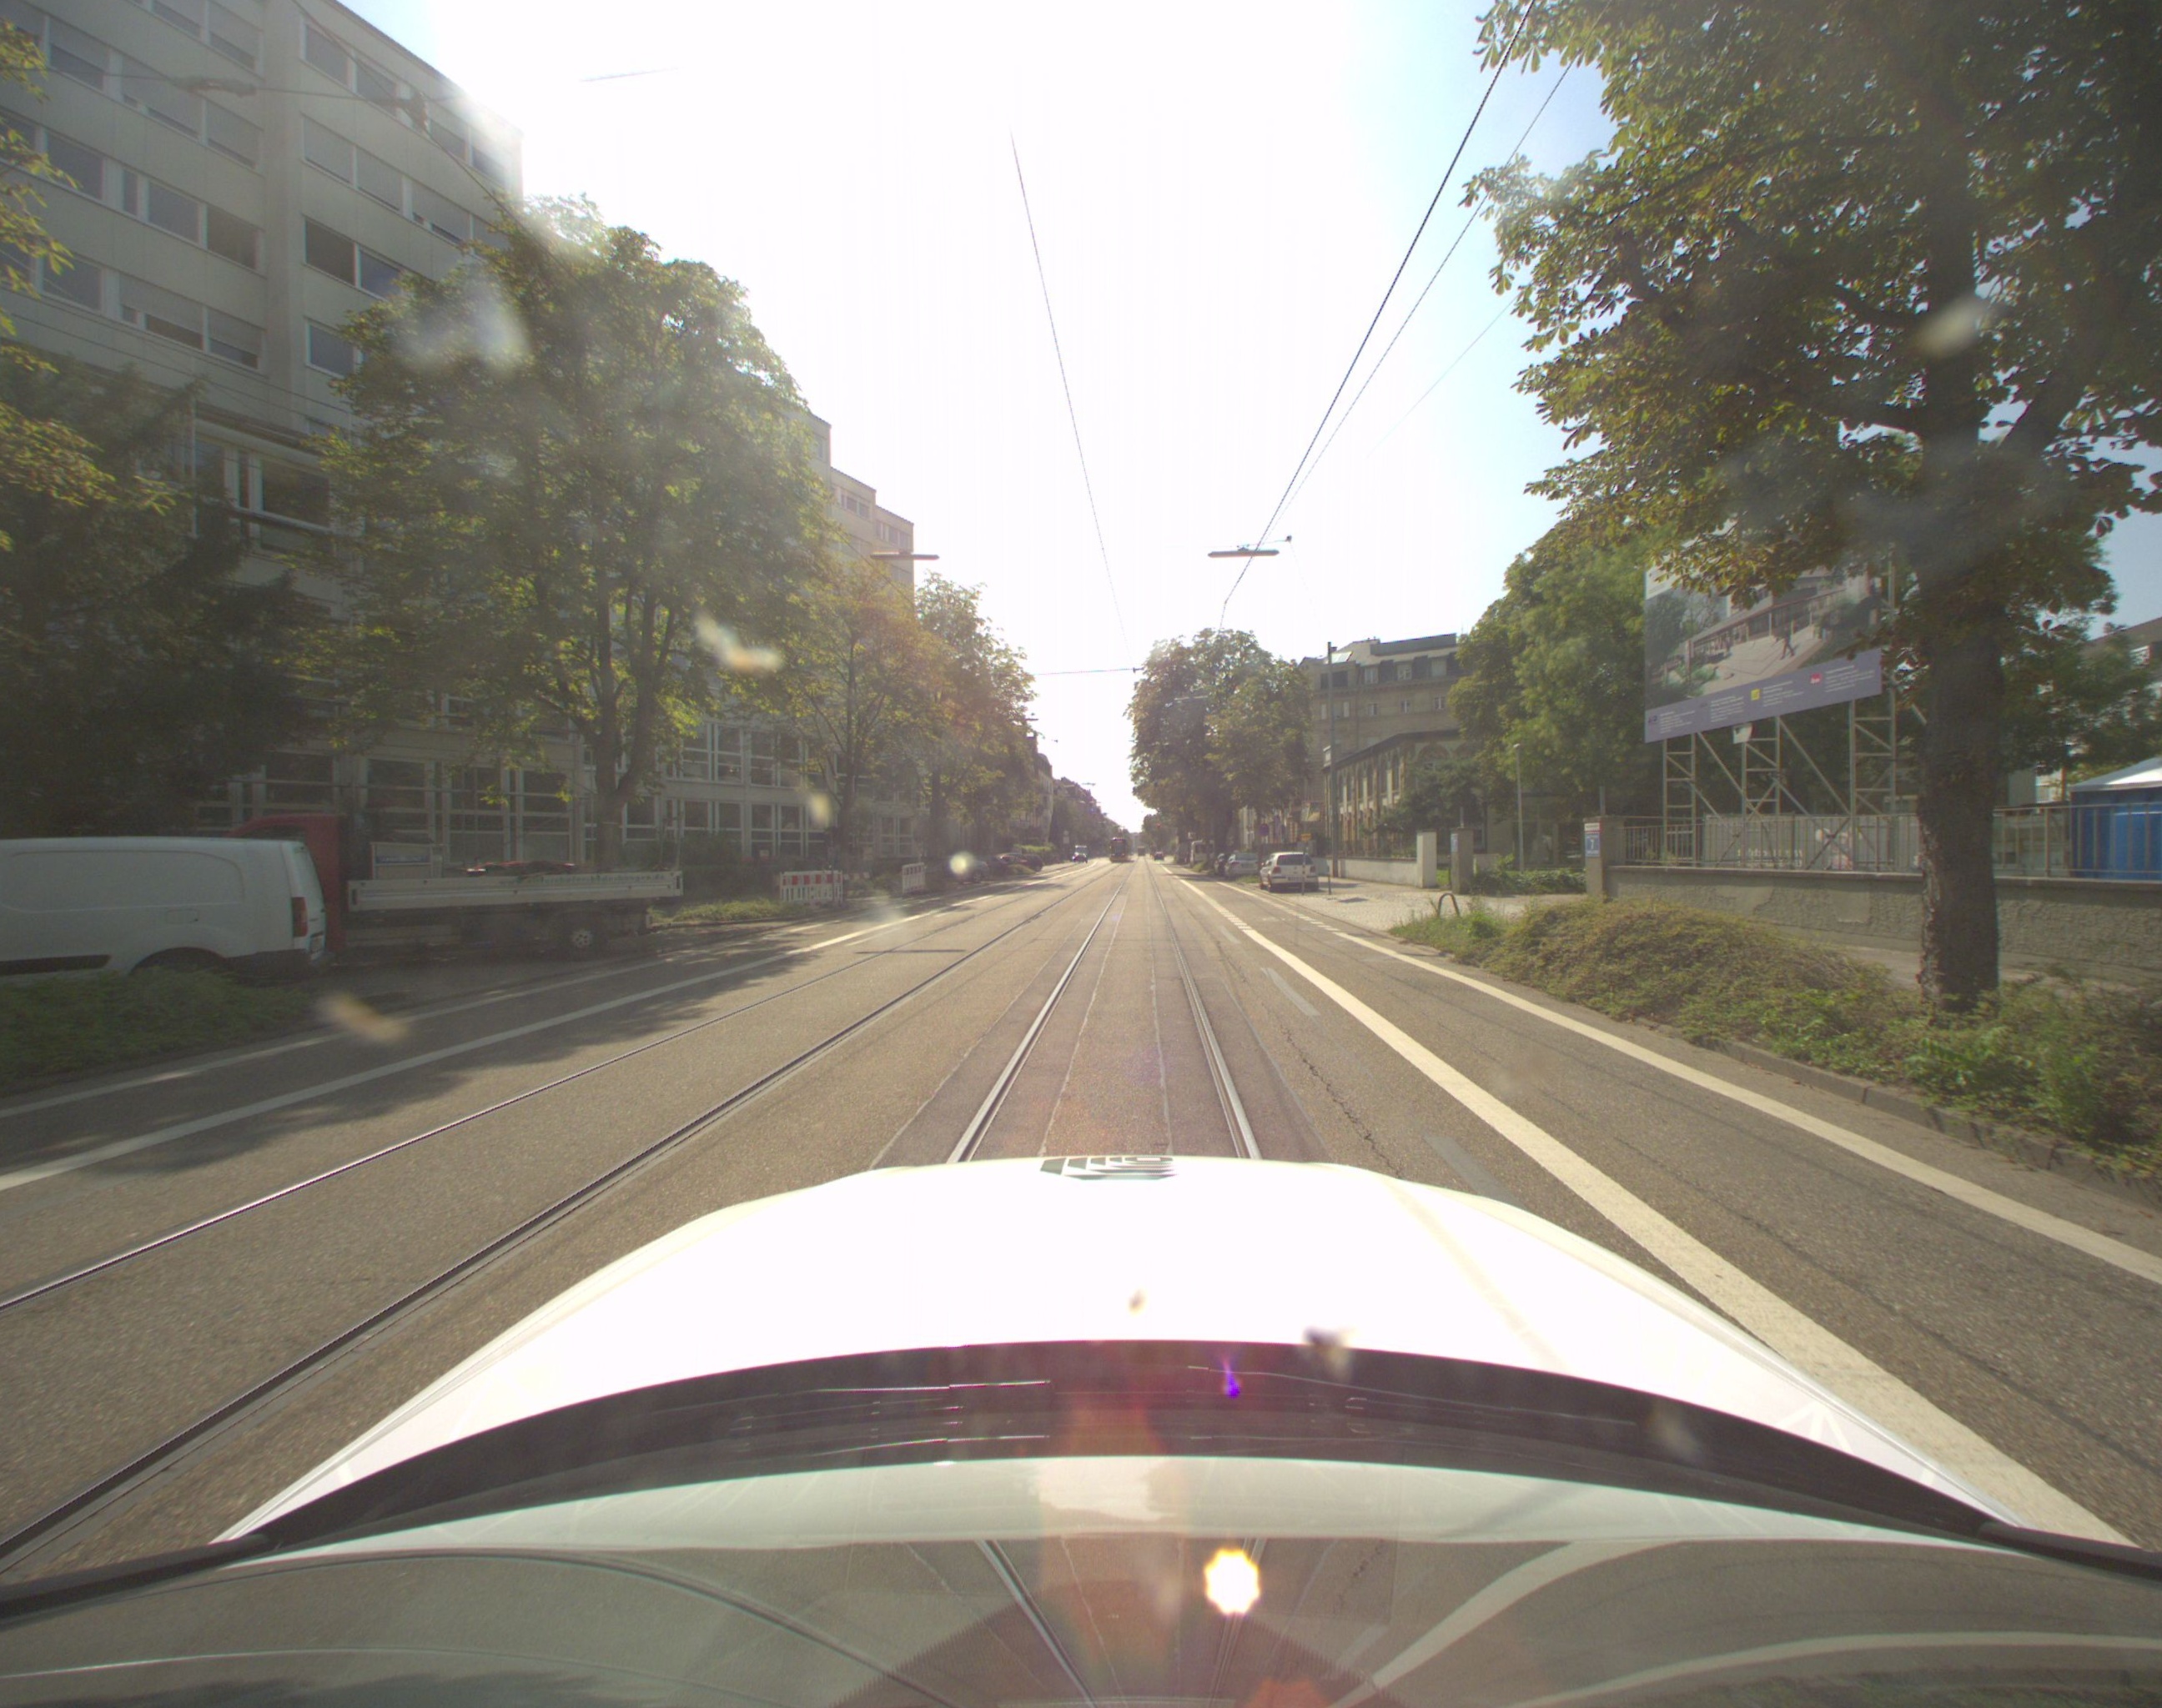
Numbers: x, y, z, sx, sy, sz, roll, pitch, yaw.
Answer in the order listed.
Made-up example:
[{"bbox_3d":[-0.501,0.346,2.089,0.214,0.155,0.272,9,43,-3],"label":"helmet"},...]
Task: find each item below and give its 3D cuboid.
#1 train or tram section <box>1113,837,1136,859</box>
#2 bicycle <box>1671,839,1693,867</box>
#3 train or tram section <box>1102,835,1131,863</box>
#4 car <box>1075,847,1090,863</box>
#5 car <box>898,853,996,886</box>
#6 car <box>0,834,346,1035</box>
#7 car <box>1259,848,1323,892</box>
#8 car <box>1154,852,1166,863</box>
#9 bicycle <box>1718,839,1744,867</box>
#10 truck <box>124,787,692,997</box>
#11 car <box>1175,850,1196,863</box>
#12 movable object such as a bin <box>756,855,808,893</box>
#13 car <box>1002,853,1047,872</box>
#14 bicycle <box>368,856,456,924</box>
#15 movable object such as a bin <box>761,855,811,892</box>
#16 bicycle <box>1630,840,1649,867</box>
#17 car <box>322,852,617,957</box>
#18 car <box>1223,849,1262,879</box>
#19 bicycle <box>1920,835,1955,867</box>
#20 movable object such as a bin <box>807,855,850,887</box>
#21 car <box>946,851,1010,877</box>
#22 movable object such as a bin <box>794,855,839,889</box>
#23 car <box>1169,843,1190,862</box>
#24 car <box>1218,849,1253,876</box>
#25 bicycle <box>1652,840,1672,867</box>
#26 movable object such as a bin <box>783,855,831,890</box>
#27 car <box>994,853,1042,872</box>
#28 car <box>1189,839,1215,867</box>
[{"bbox_3d":[7.713,-1.023,143.216,3.480,3.704,12.431,0,0,5],"label":"train or tram section"},{"bbox_3d":[29.020,-0.029,39.343,0.762,1.302,2.542,-1,0,35],"label":"bicycle"},{"bbox_3d":[5.219,-0.742,116.582,3.480,3.704,12.431,0,0,5],"label":"train or tram section"},{"bbox_3d":[0.278,0.161,121.946,2.234,2.441,4.001,0,0,1],"label":"car"},{"bbox_3d":[-6.734,0.729,41.218,4.715,1.451,1.656,-2,1,-43],"label":"car"},{"bbox_3d":[-10.105,0.717,7.887,4.307,1.772,1.804,-1,0,-39],"label":"car"},{"bbox_3d":[7.686,0.561,30.079,1.782,1.446,3.740,-2,0,7],"label":"car"},{"bbox_3d":[13.310,0.637,138.063,1.984,1.801,4.005,0,0,5],"label":"car"},{"bbox_3d":[30.845,-0.044,38.656,0.762,1.302,2.542,-1,0,35],"label":"bicycle"},{"bbox_3d":[-9.234,0.396,12.045,5.994,2.434,2.128,-1,0,-35],"label":"truck"},{"bbox_3d":[11.687,0.289,91.230,1.986,1.398,4.002,-1,0,2],"label":"car"},{"bbox_3d":[-12.907,0.840,35.202,1.676,1.559,1.355,-1,0,3],"label":"movable object such as a bin"},{"bbox_3d":[-4.844,0.699,70.260,3.603,1.574,1.658,0,0,-37],"label":"car"},{"bbox_3d":[-15.844,0.822,19.282,2.317,1.525,0.605,1,0,24],"label":"bicycle"},{"bbox_3d":[-13.247,0.860,36.662,1.676,1.559,1.355,-1,0,3],"label":"movable object such as a bin"},{"bbox_3d":[27.618,-0.005,40.253,0.762,1.302,2.542,-1,0,35],"label":"bicycle"},{"bbox_3d":[-10.430,0.774,14.133,3.880,1.508,1.701,-1,0,-40],"label":"car"},{"bbox_3d":[8.593,0.519,43.545,1.633,1.511,3.645,0,0,5],"label":"car"},{"bbox_3d":[36.803,-0.120,35.013,0.601,1.302,2.187,-1,0,35],"label":"bicycle"},{"bbox_3d":[-12.789,0.846,41.328,1.676,1.559,1.355,-1,0,3],"label":"movable object such as a bin"},{"bbox_3d":[-6.376,0.600,50.555,3.603,1.574,1.658,0,0,-37],"label":"car"},{"bbox_3d":[-12.922,0.862,39.855,1.676,1.559,1.355,-1,0,3],"label":"movable object such as a bin"},{"bbox_3d":[11.884,-0.183,98.601,1.987,2.233,3.999,-1,0,-1],"label":"car"},{"bbox_3d":[9.357,0.490,49.501,1.785,1.577,4.007,-1,0,6],"label":"car"},{"bbox_3d":[28.271,-0.022,39.651,0.762,1.302,2.542,-1,0,35],"label":"bicycle"},{"bbox_3d":[-12.862,0.857,38.291,1.676,1.559,1.355,-1,0,3],"label":"movable object such as a bin"},{"bbox_3d":[-5.217,0.689,67.327,3.603,1.574,1.658,0,0,-37],"label":"car"},{"bbox_3d":[10.579,-0.104,71.210,1.984,2.365,4.005,0,0,5],"label":"car"}]
